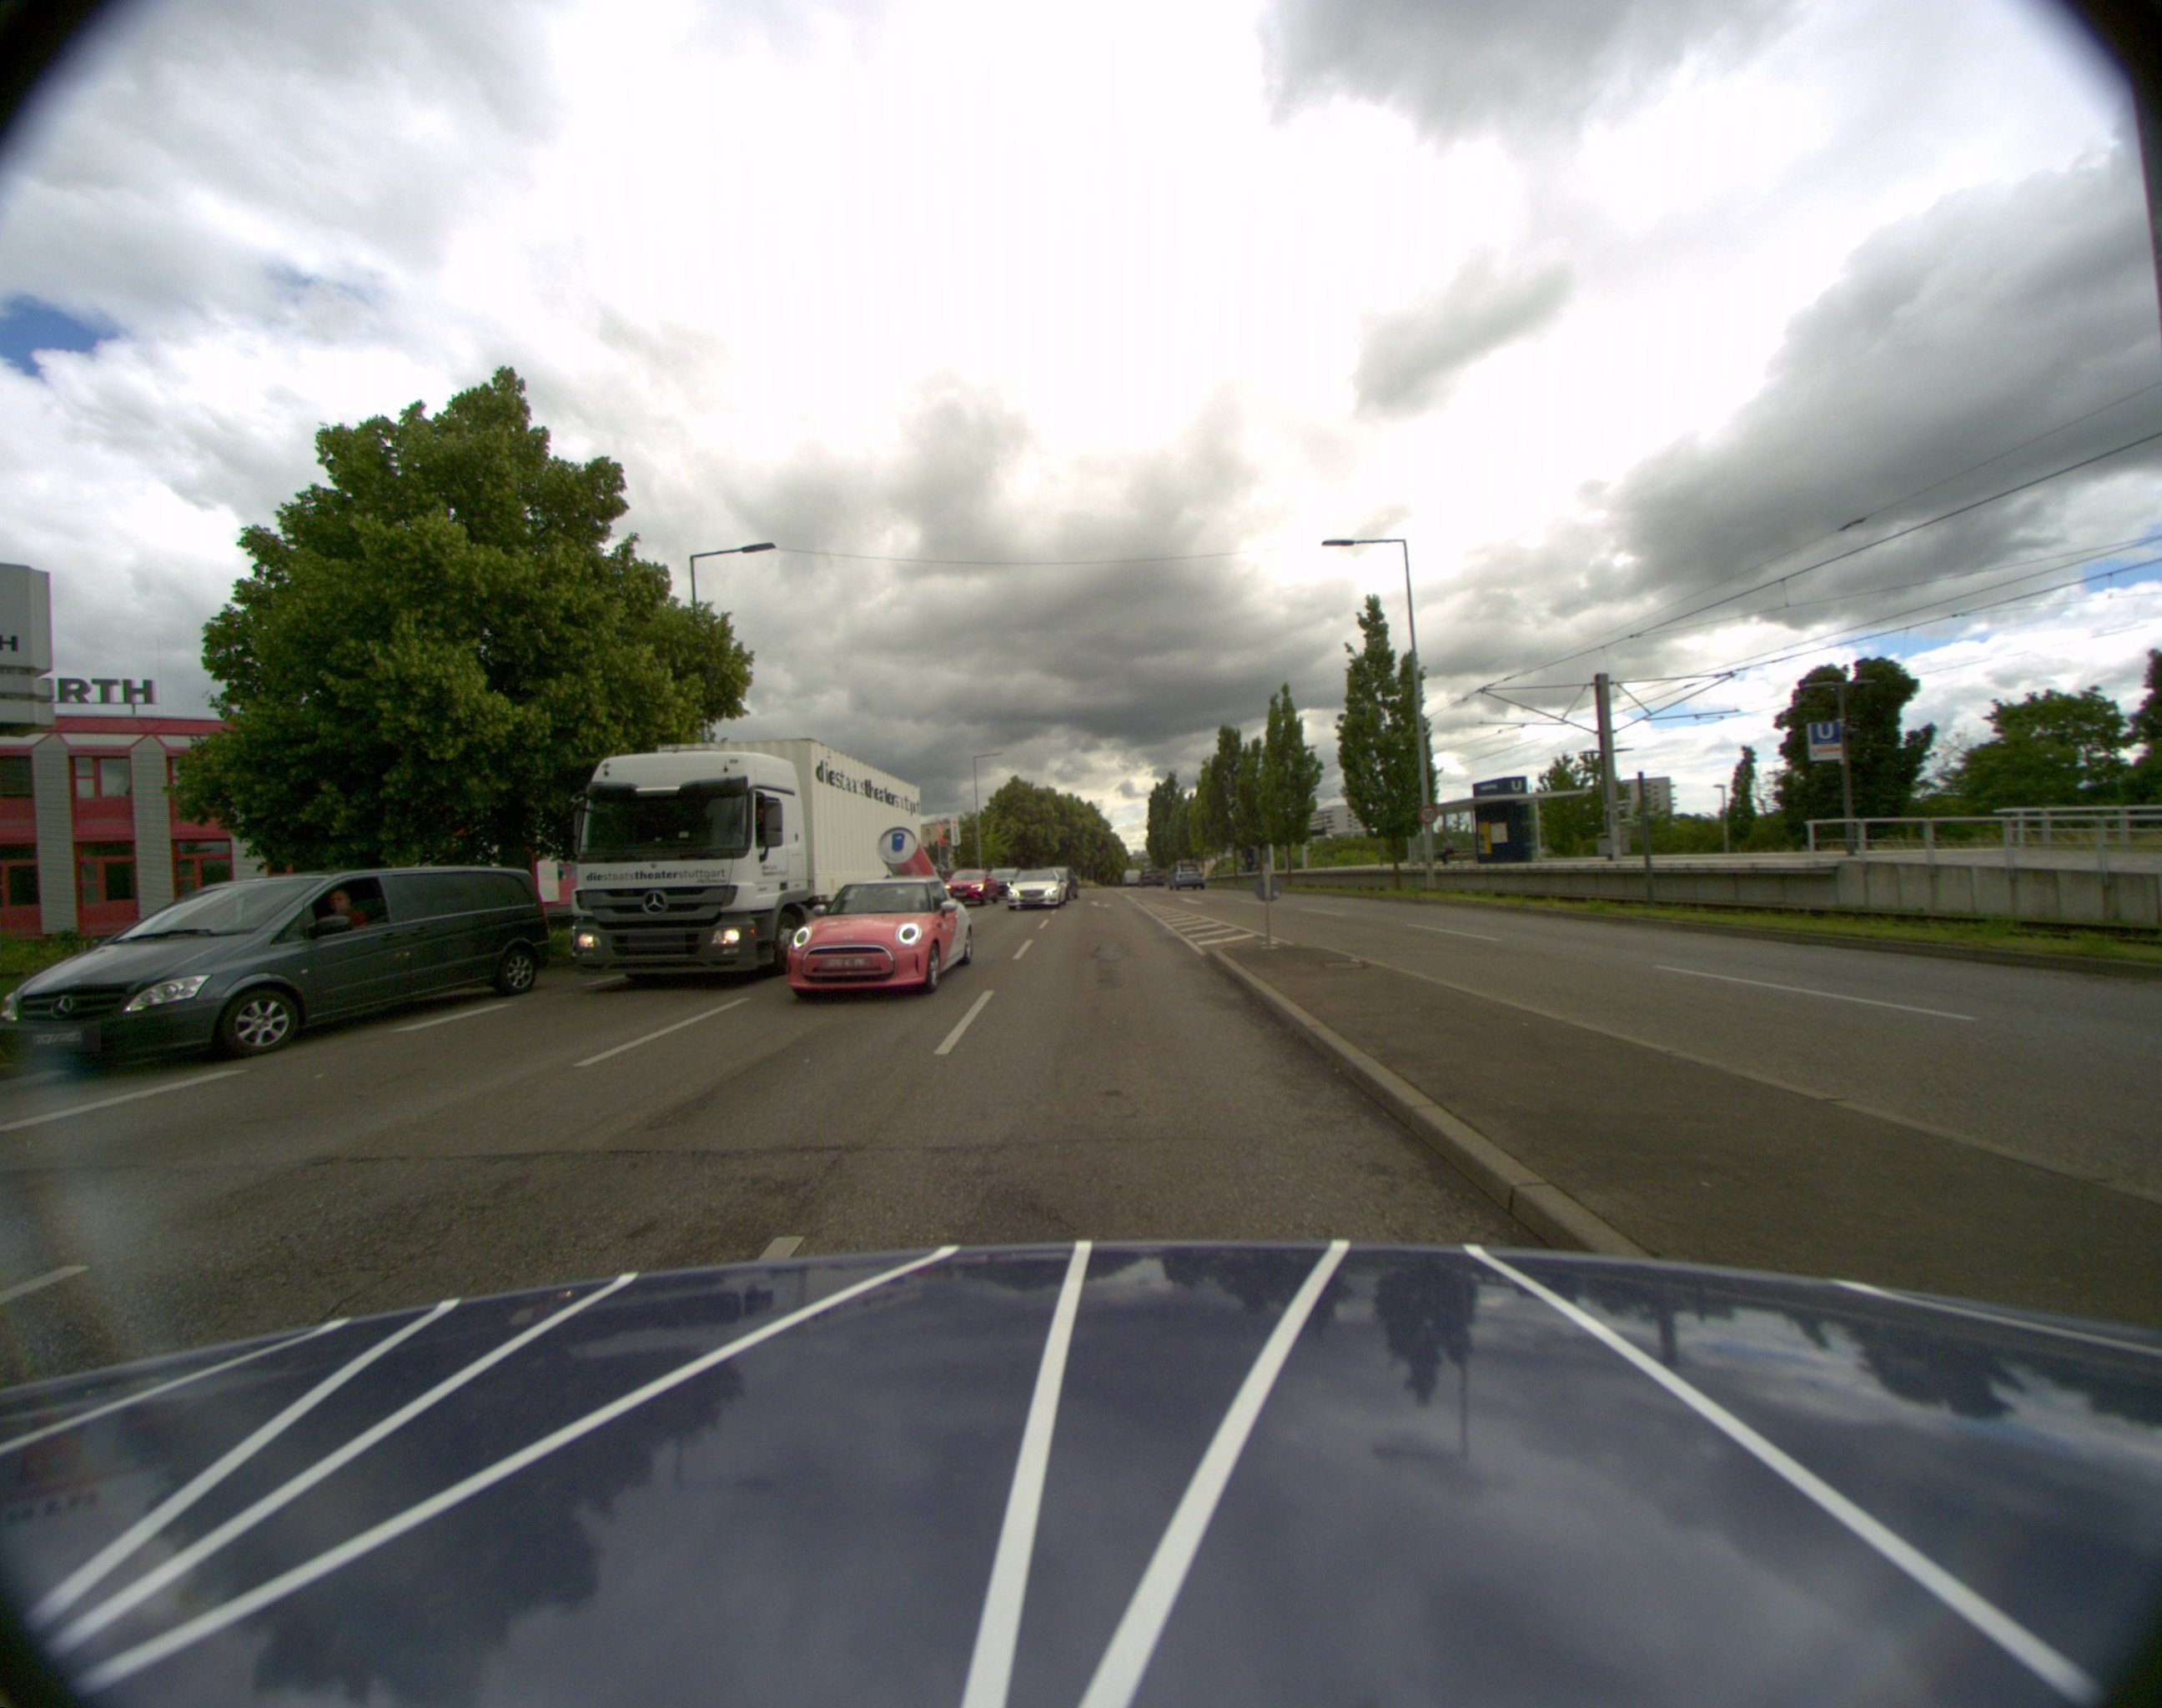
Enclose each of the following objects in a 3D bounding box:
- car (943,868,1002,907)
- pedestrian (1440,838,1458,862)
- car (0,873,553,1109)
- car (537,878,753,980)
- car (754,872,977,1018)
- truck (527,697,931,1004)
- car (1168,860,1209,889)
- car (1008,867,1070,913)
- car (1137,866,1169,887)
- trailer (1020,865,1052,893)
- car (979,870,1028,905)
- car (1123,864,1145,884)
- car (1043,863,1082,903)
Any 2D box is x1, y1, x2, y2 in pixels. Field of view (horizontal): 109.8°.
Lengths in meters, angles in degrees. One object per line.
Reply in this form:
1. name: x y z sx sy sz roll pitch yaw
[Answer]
1. car: -4.623 1.398 32.957 1.851 1.521 4.377 -2 -1 0
2. pedestrian: 17.777 -0.183 36.699 0.601 1.148 0.447 -2 1 1
3. car: -8.769 1.251 8.803 1.763 1.764 4.675 -6 0 2
4. car: -8.598 1.391 15.478 1.844 1.507 4.106 -6 0 1
5. car: -2.632 1.055 10.189 1.825 1.497 3.495 -2 0 2
6. truck: -5.581 -0.028 14.955 2.809 3.880 10.183 -2 0 2
7. car: 6.471 1.214 45.920 1.761 1.519 3.599 -2 1 -3
8. car: -1.499 1.293 28.474 1.804 1.403 4.317 -2 1 3
9. car: 5.881 1.808 62.322 1.876 1.416 4.430 -2 1 -4
10. trailer: -3.044 1.678 51.884 1.775 1.650 3.996 -2 1 1
11. car: -3.989 1.684 39.719 1.797 1.521 4.219 -2 1 3
12. car: 5.961 2.258 85.912 1.920 1.953 5.372 -2 1 -1
13. car: -0.809 1.312 35.631 1.669 1.589 3.996 -2 1 0
